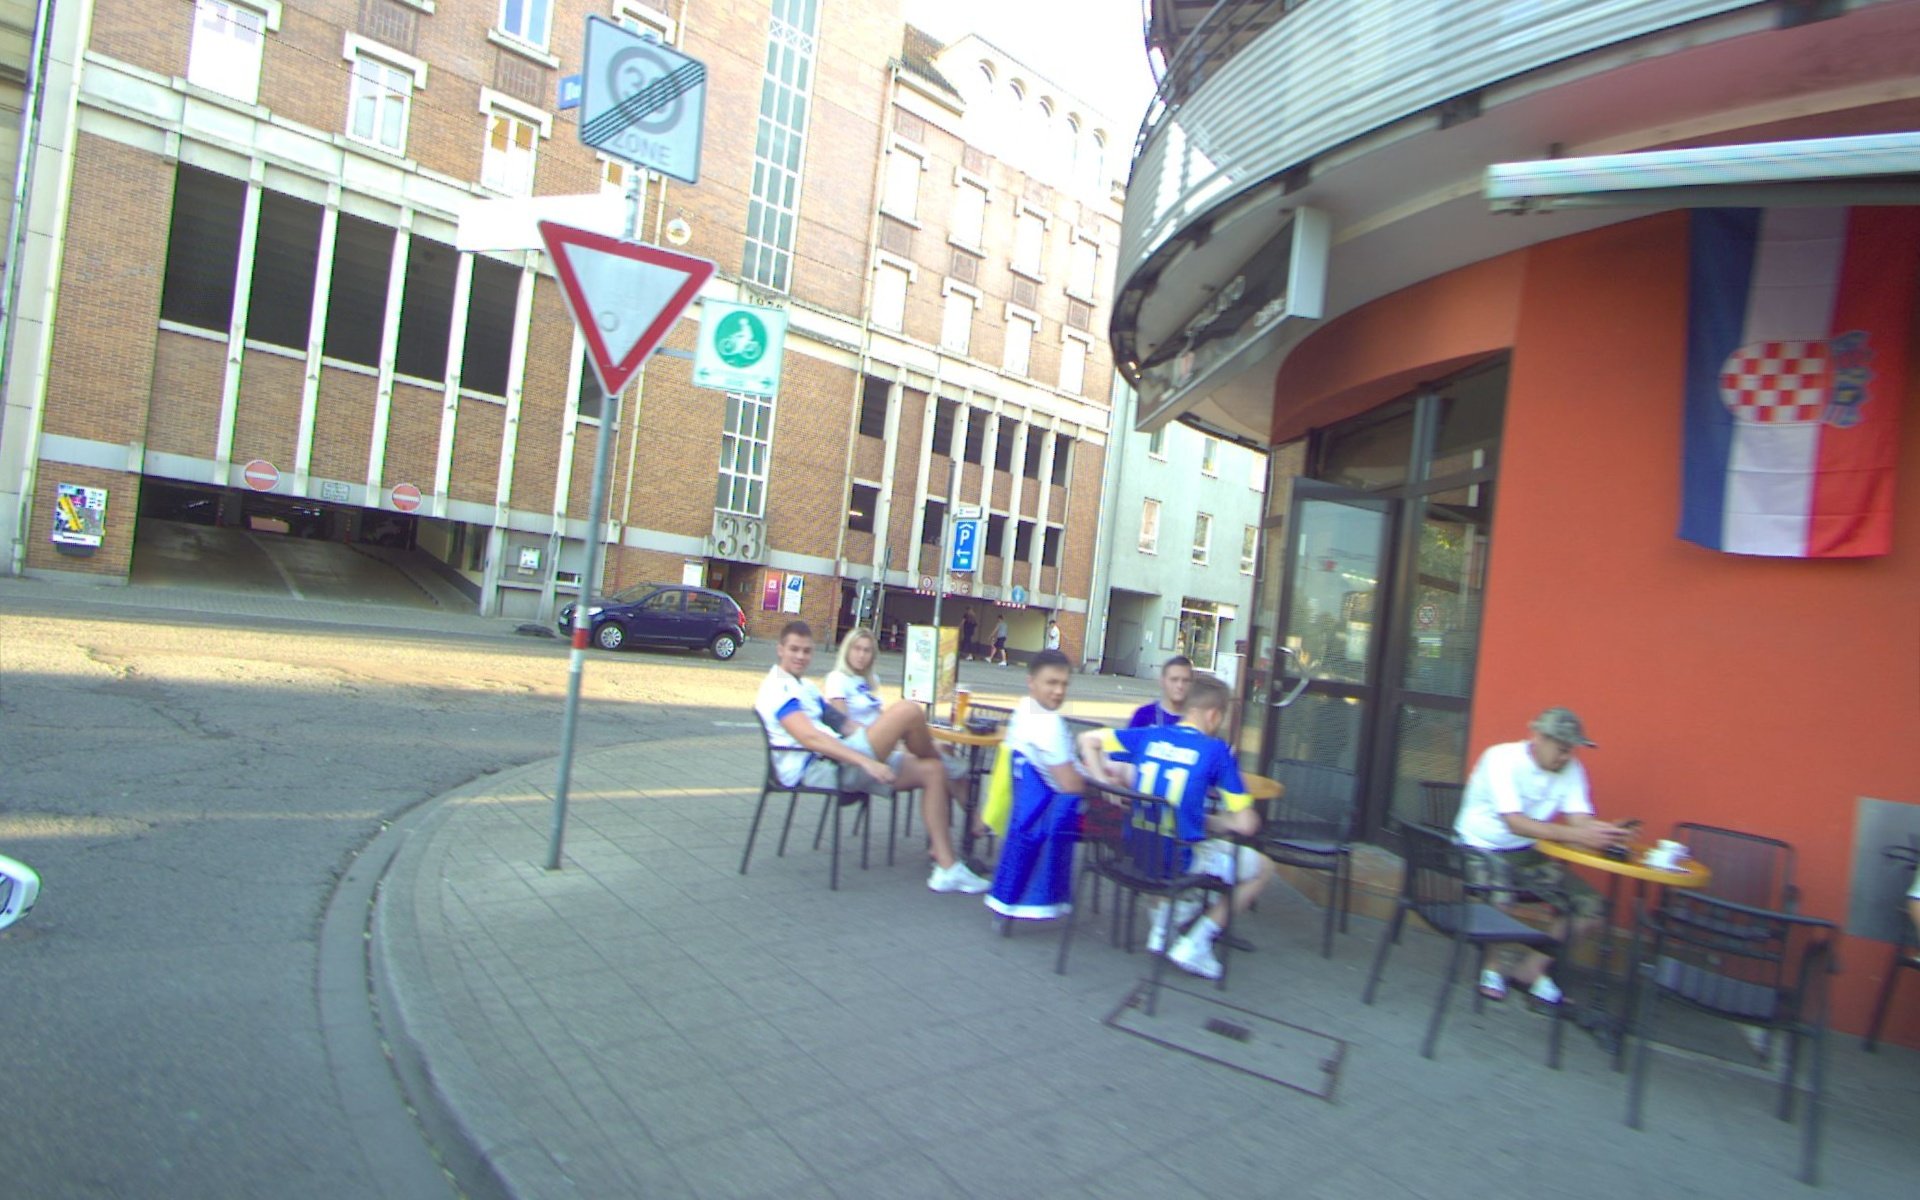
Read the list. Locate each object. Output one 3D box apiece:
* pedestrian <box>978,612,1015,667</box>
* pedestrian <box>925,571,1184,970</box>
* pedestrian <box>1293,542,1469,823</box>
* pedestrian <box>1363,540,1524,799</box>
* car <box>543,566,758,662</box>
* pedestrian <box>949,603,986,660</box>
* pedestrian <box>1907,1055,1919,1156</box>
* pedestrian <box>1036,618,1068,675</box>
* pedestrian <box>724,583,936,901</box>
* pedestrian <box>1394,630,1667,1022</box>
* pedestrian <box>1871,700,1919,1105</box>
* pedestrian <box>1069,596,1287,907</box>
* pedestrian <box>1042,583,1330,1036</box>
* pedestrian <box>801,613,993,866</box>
[{"bbox_3d":[1.238,1.352,34.313,0.881,1.771,0.674,7,0,28],"label":"pedestrian"},{"bbox_3d":[0.423,0.708,4.501,0.680,1.555,0.710,9,2,44],"label":"pedestrian"},{"bbox_3d":[3.340,0.632,7.972,0.843,2.038,0.907,7,0,41],"label":"pedestrian"},{"bbox_3d":[4.122,0.577,8.576,0.850,2.038,0.811,6,-1,42],"label":"pedestrian"},{"bbox_3d":[-6.778,0.325,22.165,3.970,1.538,1.979,8,-1,-39],"label":"car"},{"bbox_3d":[0.263,1.080,34.851,0.881,1.855,0.636,7,0,28],"label":"pedestrian"},{"bbox_3d":[3.459,1.090,2.864,0.746,1.557,0.713,7,4,23],"label":"pedestrian"},{"bbox_3d":[3.115,1.577,33.912,0.668,1.850,0.674,7,0,28],"label":"pedestrian"},{"bbox_3d":[-0.615,0.667,5.065,0.823,1.399,0.771,5,0,1],"label":"pedestrian"},{"bbox_3d":[2.559,0.970,4.530,0.745,1.554,0.643,8,-1,-30],"label":"pedestrian"},{"bbox_3d":[3.964,1.132,3.655,0.643,1.556,0.674,7,2,25],"label":"pedestrian"},{"bbox_3d":[1.199,0.818,5.678,0.838,1.554,0.714,7,-1,-8],"label":"pedestrian"},{"bbox_3d":[0.924,0.749,4.070,0.838,1.557,0.712,7,4,29],"label":"pedestrian"},{"bbox_3d":[-0.334,0.765,5.814,0.949,1.297,0.686,5,0,2],"label":"pedestrian"}]
